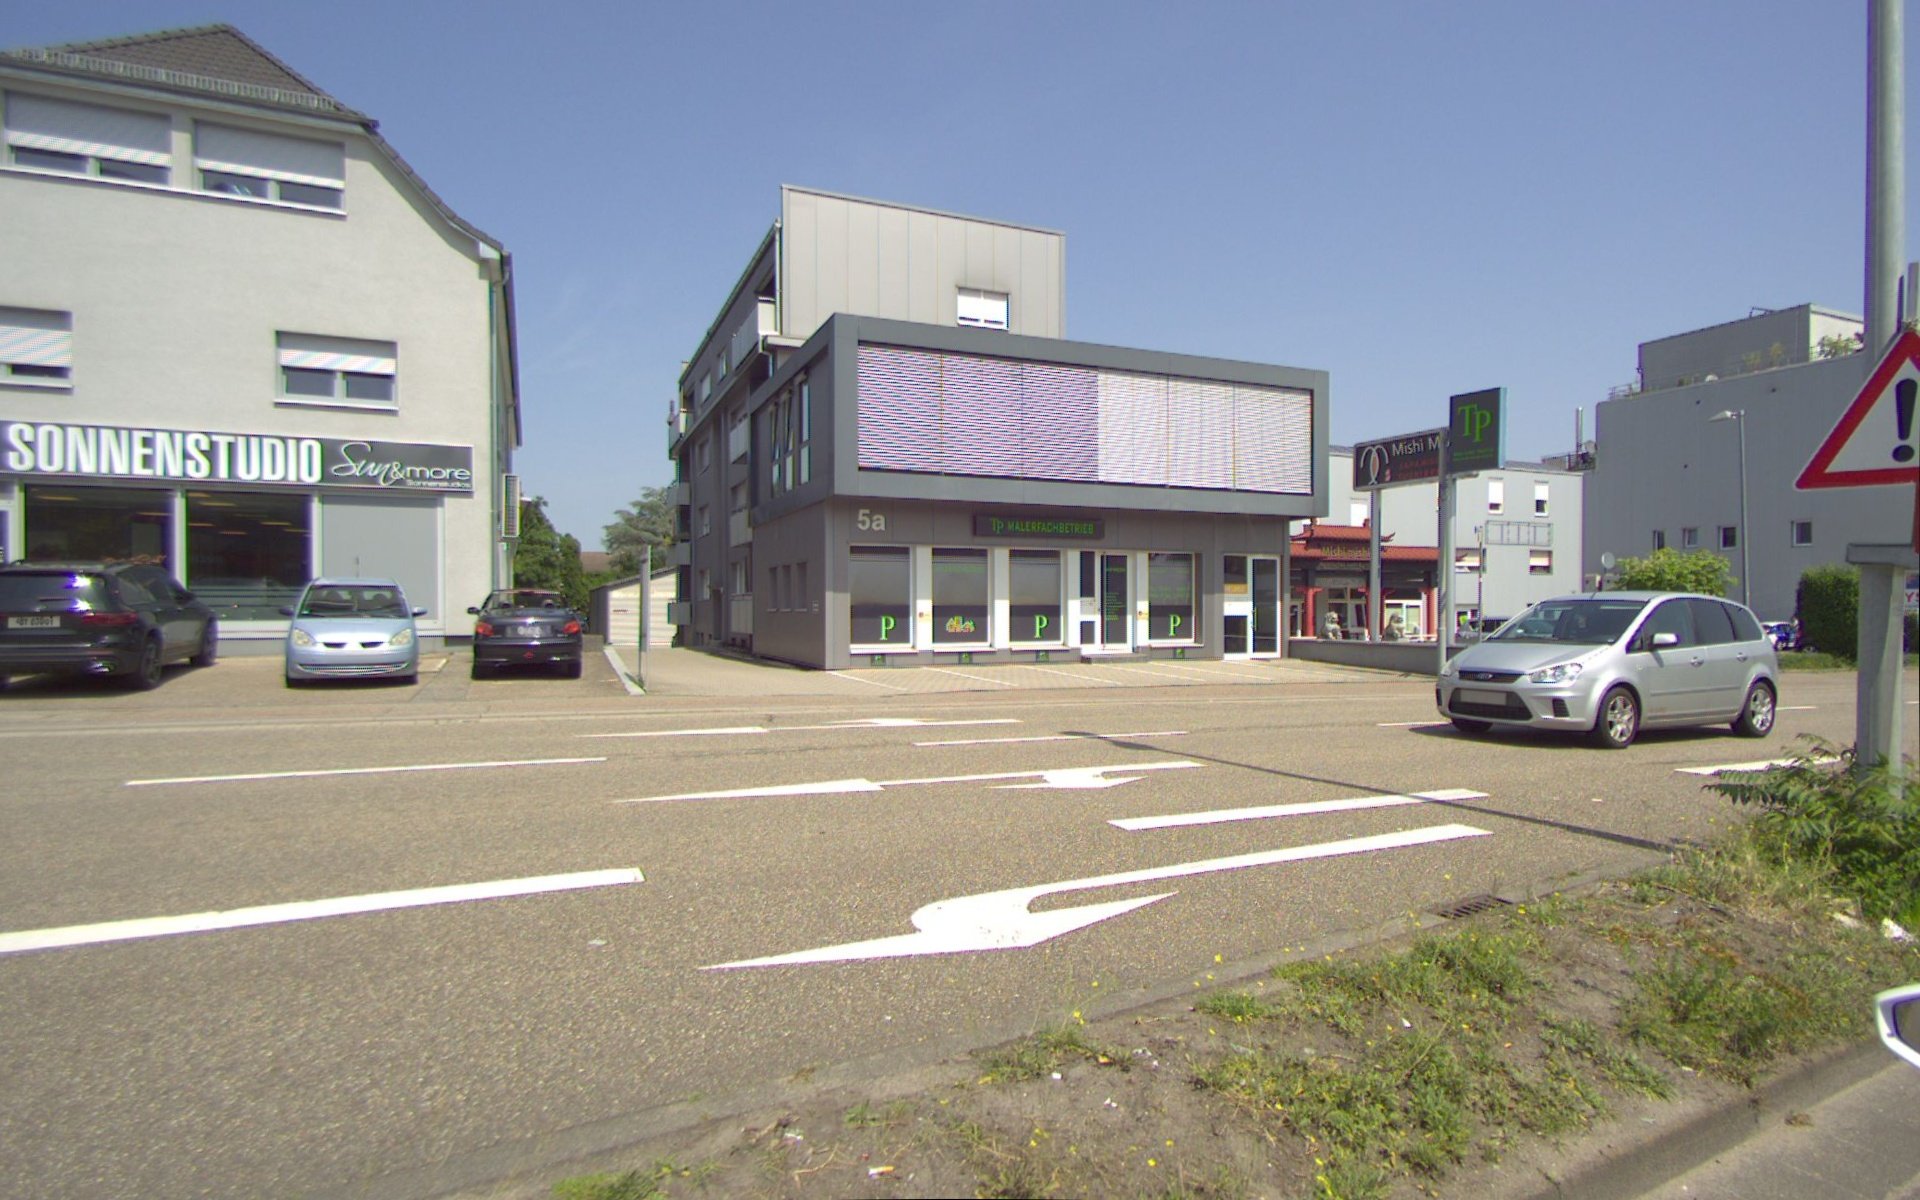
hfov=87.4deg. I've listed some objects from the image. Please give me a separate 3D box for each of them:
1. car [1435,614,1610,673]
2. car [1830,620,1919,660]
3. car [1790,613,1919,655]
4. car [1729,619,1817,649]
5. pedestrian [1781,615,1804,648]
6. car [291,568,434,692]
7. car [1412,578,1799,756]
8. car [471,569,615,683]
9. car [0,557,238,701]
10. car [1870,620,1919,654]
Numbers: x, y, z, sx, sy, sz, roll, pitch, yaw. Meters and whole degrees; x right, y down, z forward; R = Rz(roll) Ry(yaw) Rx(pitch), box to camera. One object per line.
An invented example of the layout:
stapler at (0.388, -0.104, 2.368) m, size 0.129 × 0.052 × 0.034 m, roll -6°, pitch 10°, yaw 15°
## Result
car at (15.299, 1.141, 27.534) m, size 1.556 × 1.478 × 3.970 m, roll 2°, pitch -1°, yaw -28°
car at (33.982, 1.401, 35.677) m, size 1.953 × 1.366 × 4.213 m, roll 0°, pitch -2°, yaw -24°
car at (31.474, 1.154, 34.486) m, size 2.016 × 1.360 × 4.135 m, roll 0°, pitch -2°, yaw -26°
car at (42.424, 1.791, 52.401) m, size 3.945 × 1.391 × 1.988 m, roll 2°, pitch 0°, yaw -24°
pedestrian at (42.519, 1.612, 51.290) m, size 0.711 × 1.609 × 0.605 m, roll 2°, pitch 0°, yaw -25°
car at (-9.577, 0.361, 16.102) m, size 1.733 × 1.517 × 4.580 m, roll 1°, pitch 3°, yaw -32°
car at (7.207, 0.678, 11.149) m, size 4.285 × 1.650 × 1.773 m, roll 1°, pitch -2°, yaw -28°
car at (-7.238, 0.357, 17.193) m, size 1.974 × 1.542 × 4.041 m, roll 1°, pitch 3°, yaw -27°
car at (-11.995, 0.282, 14.351) m, size 1.828 × 1.649 × 4.592 m, roll 1°, pitch 3°, yaw -24°
car at (36.182, 1.349, 36.787) m, size 1.834 × 1.246 × 3.828 m, roll 0°, pitch -2°, yaw -24°
